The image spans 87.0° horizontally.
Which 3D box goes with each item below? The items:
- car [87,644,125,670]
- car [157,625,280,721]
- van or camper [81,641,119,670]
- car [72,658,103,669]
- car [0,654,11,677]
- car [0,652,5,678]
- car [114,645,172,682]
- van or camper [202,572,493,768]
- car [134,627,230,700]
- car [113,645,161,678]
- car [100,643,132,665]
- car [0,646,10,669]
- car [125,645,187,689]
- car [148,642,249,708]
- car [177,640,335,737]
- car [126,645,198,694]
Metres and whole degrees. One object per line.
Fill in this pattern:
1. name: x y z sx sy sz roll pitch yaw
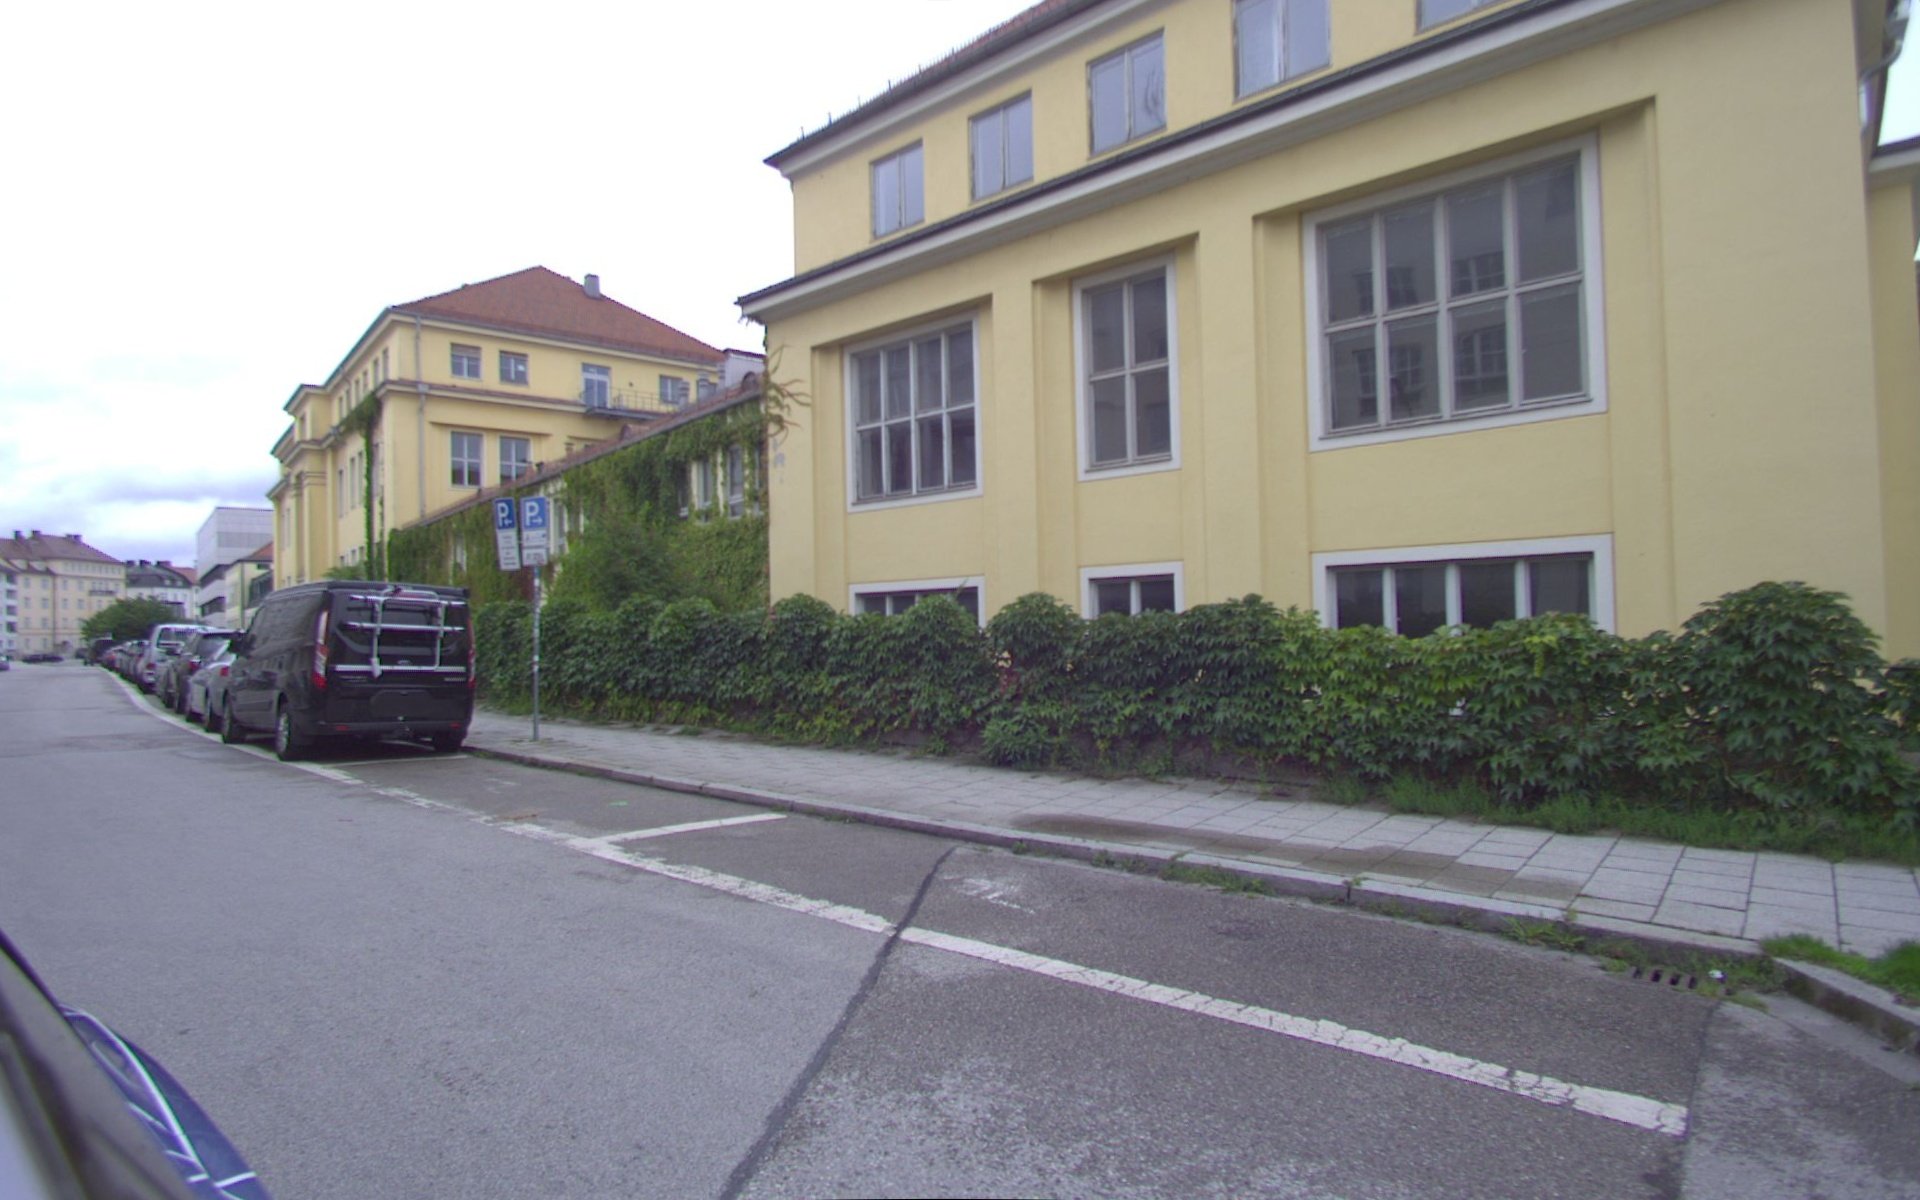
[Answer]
1. car: -51.645 3.448 61.176 1.659 1.507 3.991 3 -4 -41
2. car: -15.274 1.440 20.764 1.600 1.743 4.430 1 -3 -42
3. van or camper: -87.458 5.651 102.877 5.571 2.829 2.112 -3 -4 42
4. car: -148.150 10.760 171.811 3.937 1.874 2.003 1 -4 -40
5. car: -72.292 4.900 75.864 1.584 1.655 3.635 1 -3 -42
6. car: -69.151 4.651 71.736 1.818 1.799 4.902 -1 -2 -41
7. car: -36.714 2.815 45.424 1.760 1.549 4.199 0 -2 -43
8. van or camper: -8.049 0.884 13.104 4.753 2.081 1.939 -3 -5 43
9. car: -22.220 1.756 28.841 1.968 1.890 4.766 1 -3 -40
10. car: -44.657 3.296 54.886 1.660 1.646 4.360 0 -2 -44
11. car: -63.249 4.013 75.814 1.655 1.578 4.001 0 -2 -43
12. car: -61.532 3.641 64.094 1.670 1.462 4.090 0 -2 -39
13. car: -29.238 2.393 36.771 1.559 1.466 3.909 0 -2 -42
14. car: -18.691 1.779 24.763 1.680 1.433 4.431 1 -3 -41
15. car: -11.755 1.382 16.791 1.600 1.388 4.076 1 -2 -43
16. car: -25.972 2.240 32.905 1.559 1.504 3.735 4 -5 -41
